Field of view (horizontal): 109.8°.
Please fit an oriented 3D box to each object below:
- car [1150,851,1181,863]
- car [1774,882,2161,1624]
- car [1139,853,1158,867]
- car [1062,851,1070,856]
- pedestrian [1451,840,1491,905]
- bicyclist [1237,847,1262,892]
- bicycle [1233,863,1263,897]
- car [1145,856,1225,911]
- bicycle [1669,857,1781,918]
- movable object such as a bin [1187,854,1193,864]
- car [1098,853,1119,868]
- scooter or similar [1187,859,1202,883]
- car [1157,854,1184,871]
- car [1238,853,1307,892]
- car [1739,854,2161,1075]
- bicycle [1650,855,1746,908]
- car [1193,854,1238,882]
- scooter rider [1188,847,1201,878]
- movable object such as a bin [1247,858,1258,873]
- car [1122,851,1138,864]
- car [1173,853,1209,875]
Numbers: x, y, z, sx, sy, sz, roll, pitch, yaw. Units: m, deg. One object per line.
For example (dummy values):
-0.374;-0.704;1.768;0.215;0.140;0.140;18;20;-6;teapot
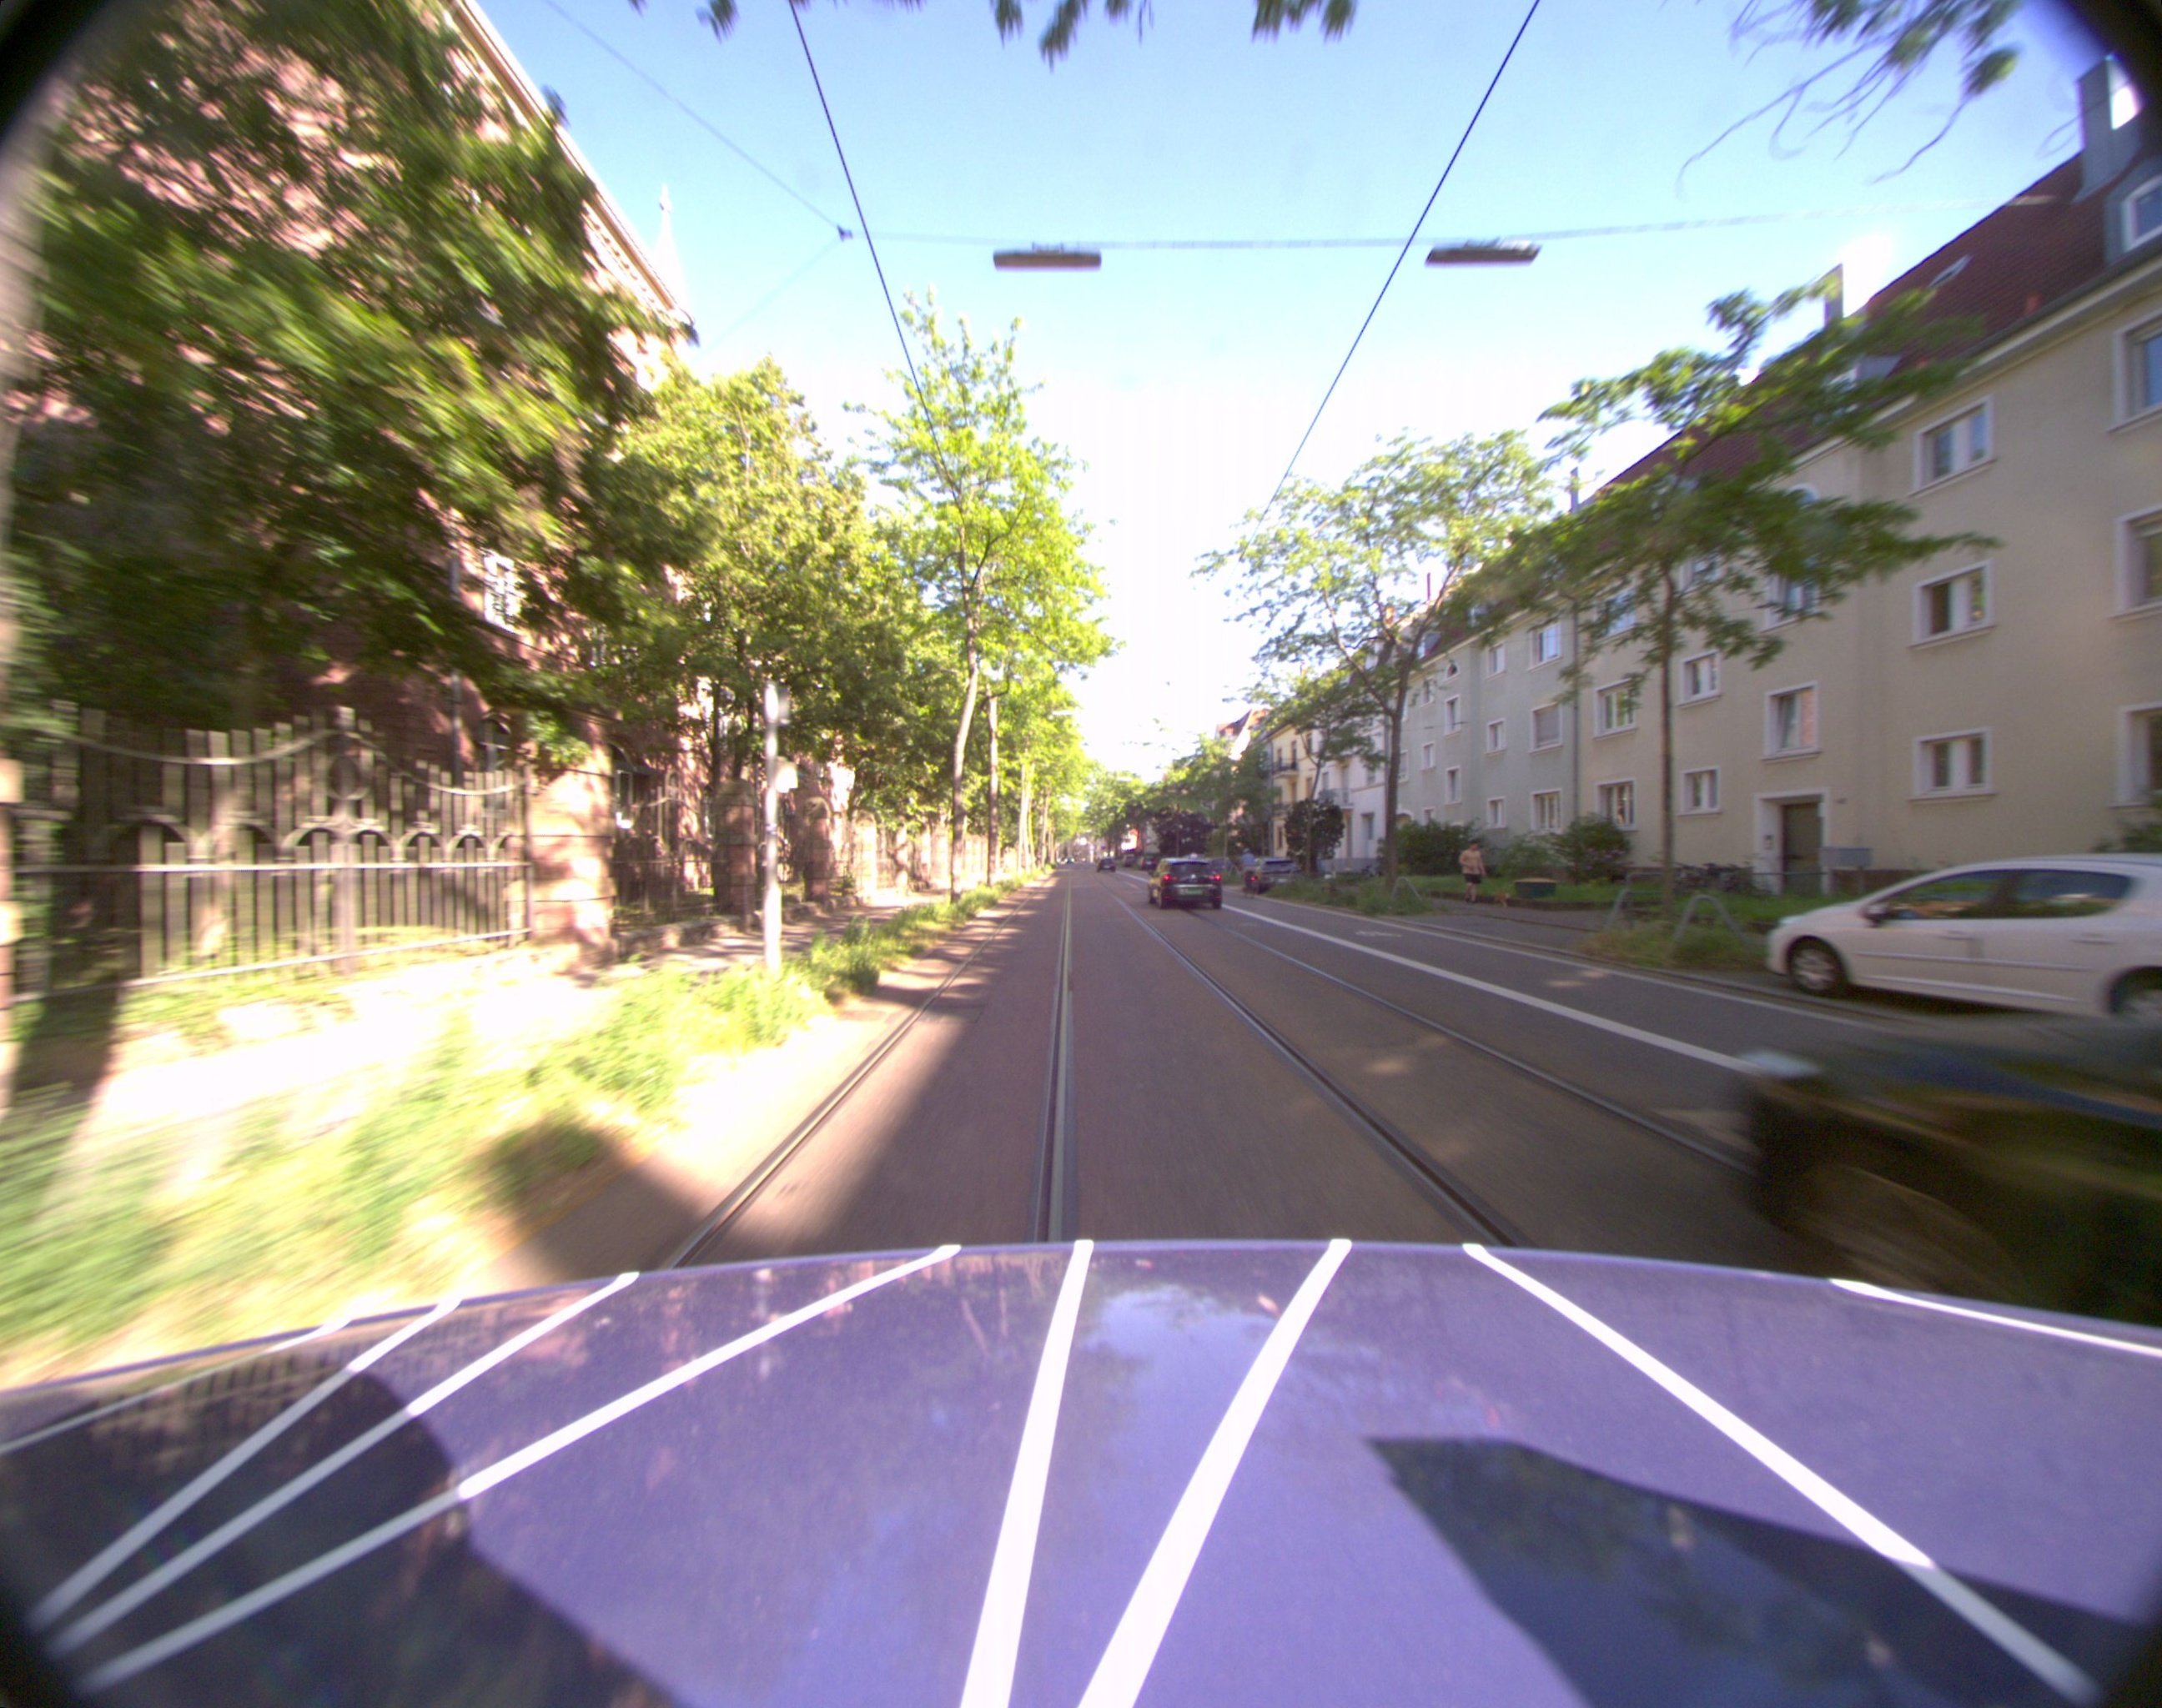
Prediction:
12.391;0.429;111.399;4.311;1.651;1.953;-2;0;1;car
3.088;0.833;0.377;1.704;1.462;4.070;-1;0;-2;car
7.675;0.688;86.745;1.781;1.532;4.485;-2;0;-1;car
-4.897;-0.166;244.545;1.880;1.390;3.996;-3;0;-12;car
10.888;0.515;21.238;0.693;1.791;0.813;0;1;-1;pedestrian
6.202;0.566;27.998;0.627;1.629;0.940;2;1;-1;bicyclist
6.176;0.956;28.167;0.628;1.170;1.913;2;0;-1;bicycle
2.977;0.808;22.532;1.704;1.431;4.070;-1;0;-2;car
13.445;0.695;15.882;1.912;1.171;0.522;-2;1;-3;bicycle
10.901;0.504;75.829;0.542;1.060;0.670;0;1;0;movable object such as a bin
2.660;0.637;75.226;1.762;1.431;4.522;-1;0;-2;car
6.165;0.908;41.369;0.521;1.290;1.377;3;0;-1;scooter or similar
7.927;0.732;67.628;1.710;1.398;4.333;-2;0;-2;car
8.156;0.746;32.716;1.822;1.476;4.205;-2;0;-1;car
8.531;0.793;6.770;1.707;1.476;4.078;-3;0;-1;car
14.856;0.657;18.313;1.912;1.171;0.522;-2;1;-3;bicycle
8.058;0.795;45.747;1.762;1.502;4.438;-2;0;-2;car
6.191;0.464;41.397;0.498;1.690;0.786;3;1;-1;scooter rider
11.673;0.791;51.722;0.561;0.970;0.733;-3;1;2;movable object such as a bin
7.209;0.447;112.570;1.875;1.812;4.770;-1;0;-3;car
8.124;0.723;56.475;1.822;1.502;4.370;-2;0;-2;car
